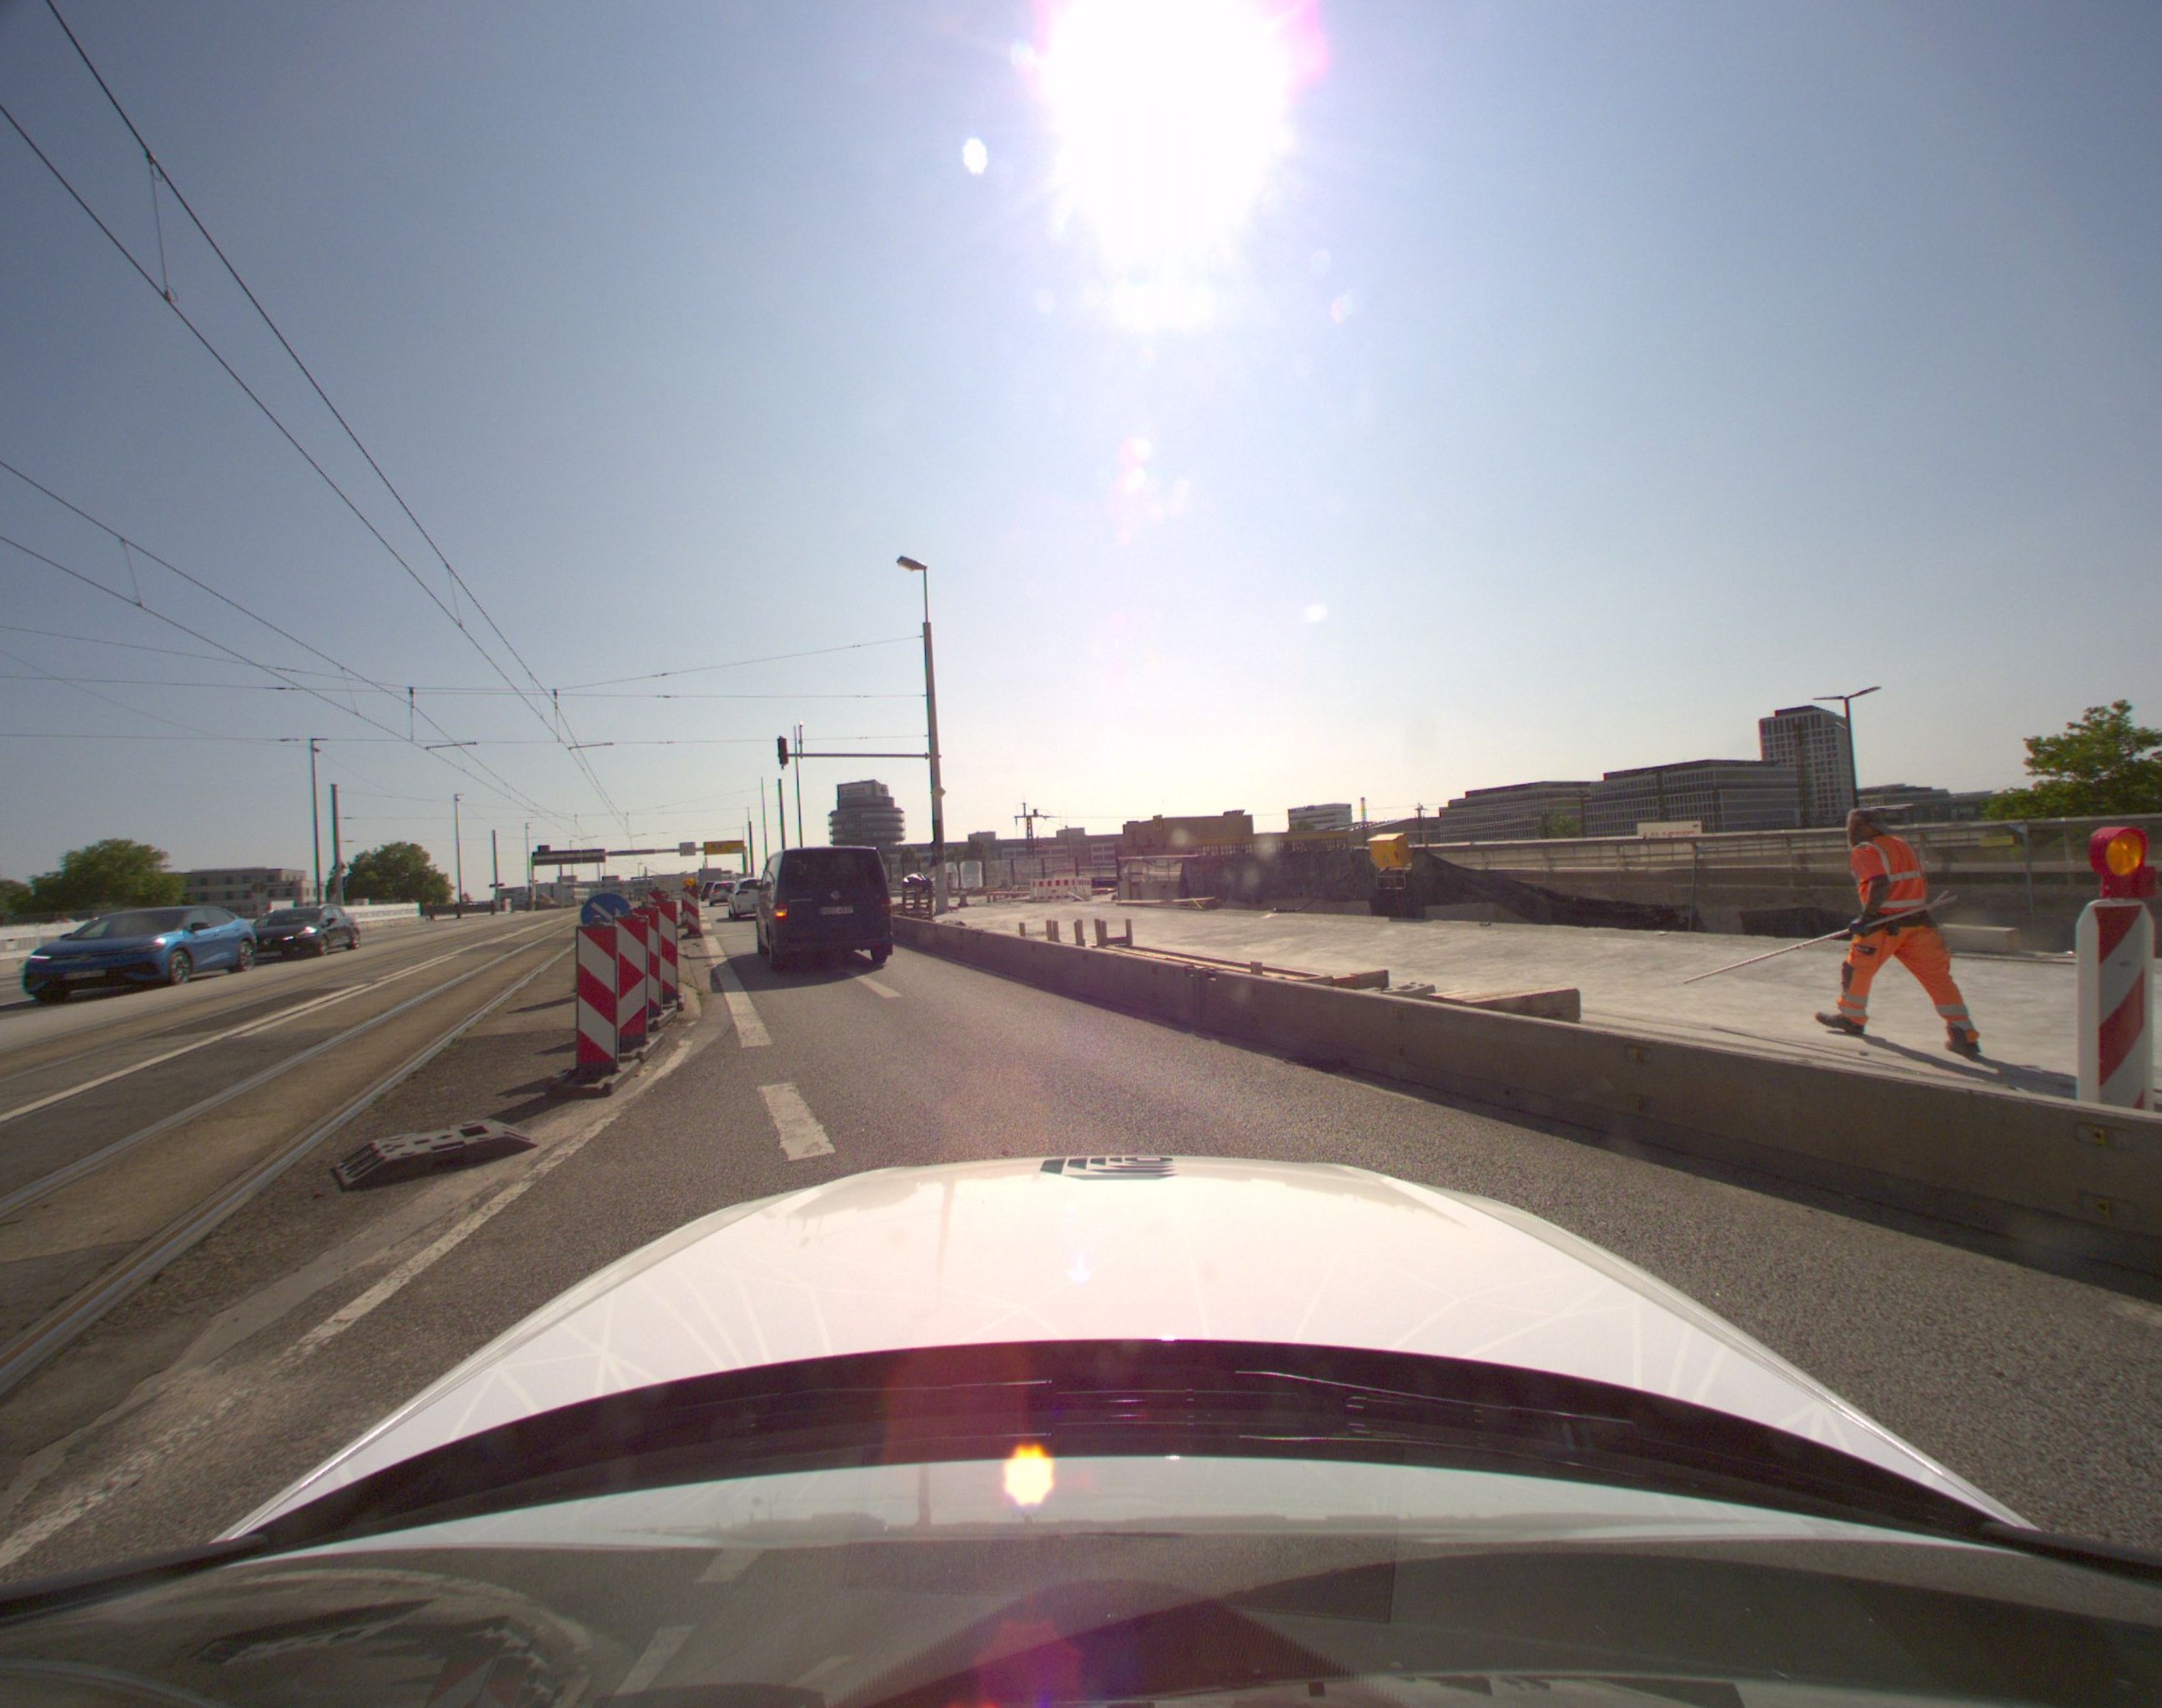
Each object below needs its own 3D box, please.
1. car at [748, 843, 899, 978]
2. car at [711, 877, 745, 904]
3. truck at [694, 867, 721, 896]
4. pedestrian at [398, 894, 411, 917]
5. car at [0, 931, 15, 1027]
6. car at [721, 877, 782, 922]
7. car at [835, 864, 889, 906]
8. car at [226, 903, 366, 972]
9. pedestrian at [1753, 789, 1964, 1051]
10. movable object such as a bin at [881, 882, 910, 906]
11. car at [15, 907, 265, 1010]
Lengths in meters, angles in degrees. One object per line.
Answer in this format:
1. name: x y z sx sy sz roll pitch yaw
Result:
1. car: -4.622 0.886 14.210 1.825 1.905 4.019 -3 0 -26
2. car: -21.861 2.240 50.385 1.727 1.532 3.665 -2 -1 -26
3. truck: -44.509 3.249 96.838 2.473 3.134 11.118 -3 0 -26
4. pedestrian: -59.023 4.486 71.035 0.637 1.893 0.746 -2 -1 -26
5. car: -16.301 1.892 10.437 1.542 1.437 3.945 -4 0 -26
6. car: -11.777 1.572 28.994 1.727 1.405 3.382 -2 -1 -27
7. car: -11.503 1.629 42.556 1.888 2.033 4.850 -2 -2 -25
8. car: -21.932 2.259 22.944 1.513 1.500 4.141 -5 0 -26
9. pedestrian: 5.935 0.460 6.243 0.824 1.794 0.856 -5 0 -27
10. movable object such as a bin: -8.951 1.926 39.315 0.931 1.074 0.896 -3 -1 20
11. car: -19.150 2.009 16.890 1.679 1.550 4.516 -4 0 -26
